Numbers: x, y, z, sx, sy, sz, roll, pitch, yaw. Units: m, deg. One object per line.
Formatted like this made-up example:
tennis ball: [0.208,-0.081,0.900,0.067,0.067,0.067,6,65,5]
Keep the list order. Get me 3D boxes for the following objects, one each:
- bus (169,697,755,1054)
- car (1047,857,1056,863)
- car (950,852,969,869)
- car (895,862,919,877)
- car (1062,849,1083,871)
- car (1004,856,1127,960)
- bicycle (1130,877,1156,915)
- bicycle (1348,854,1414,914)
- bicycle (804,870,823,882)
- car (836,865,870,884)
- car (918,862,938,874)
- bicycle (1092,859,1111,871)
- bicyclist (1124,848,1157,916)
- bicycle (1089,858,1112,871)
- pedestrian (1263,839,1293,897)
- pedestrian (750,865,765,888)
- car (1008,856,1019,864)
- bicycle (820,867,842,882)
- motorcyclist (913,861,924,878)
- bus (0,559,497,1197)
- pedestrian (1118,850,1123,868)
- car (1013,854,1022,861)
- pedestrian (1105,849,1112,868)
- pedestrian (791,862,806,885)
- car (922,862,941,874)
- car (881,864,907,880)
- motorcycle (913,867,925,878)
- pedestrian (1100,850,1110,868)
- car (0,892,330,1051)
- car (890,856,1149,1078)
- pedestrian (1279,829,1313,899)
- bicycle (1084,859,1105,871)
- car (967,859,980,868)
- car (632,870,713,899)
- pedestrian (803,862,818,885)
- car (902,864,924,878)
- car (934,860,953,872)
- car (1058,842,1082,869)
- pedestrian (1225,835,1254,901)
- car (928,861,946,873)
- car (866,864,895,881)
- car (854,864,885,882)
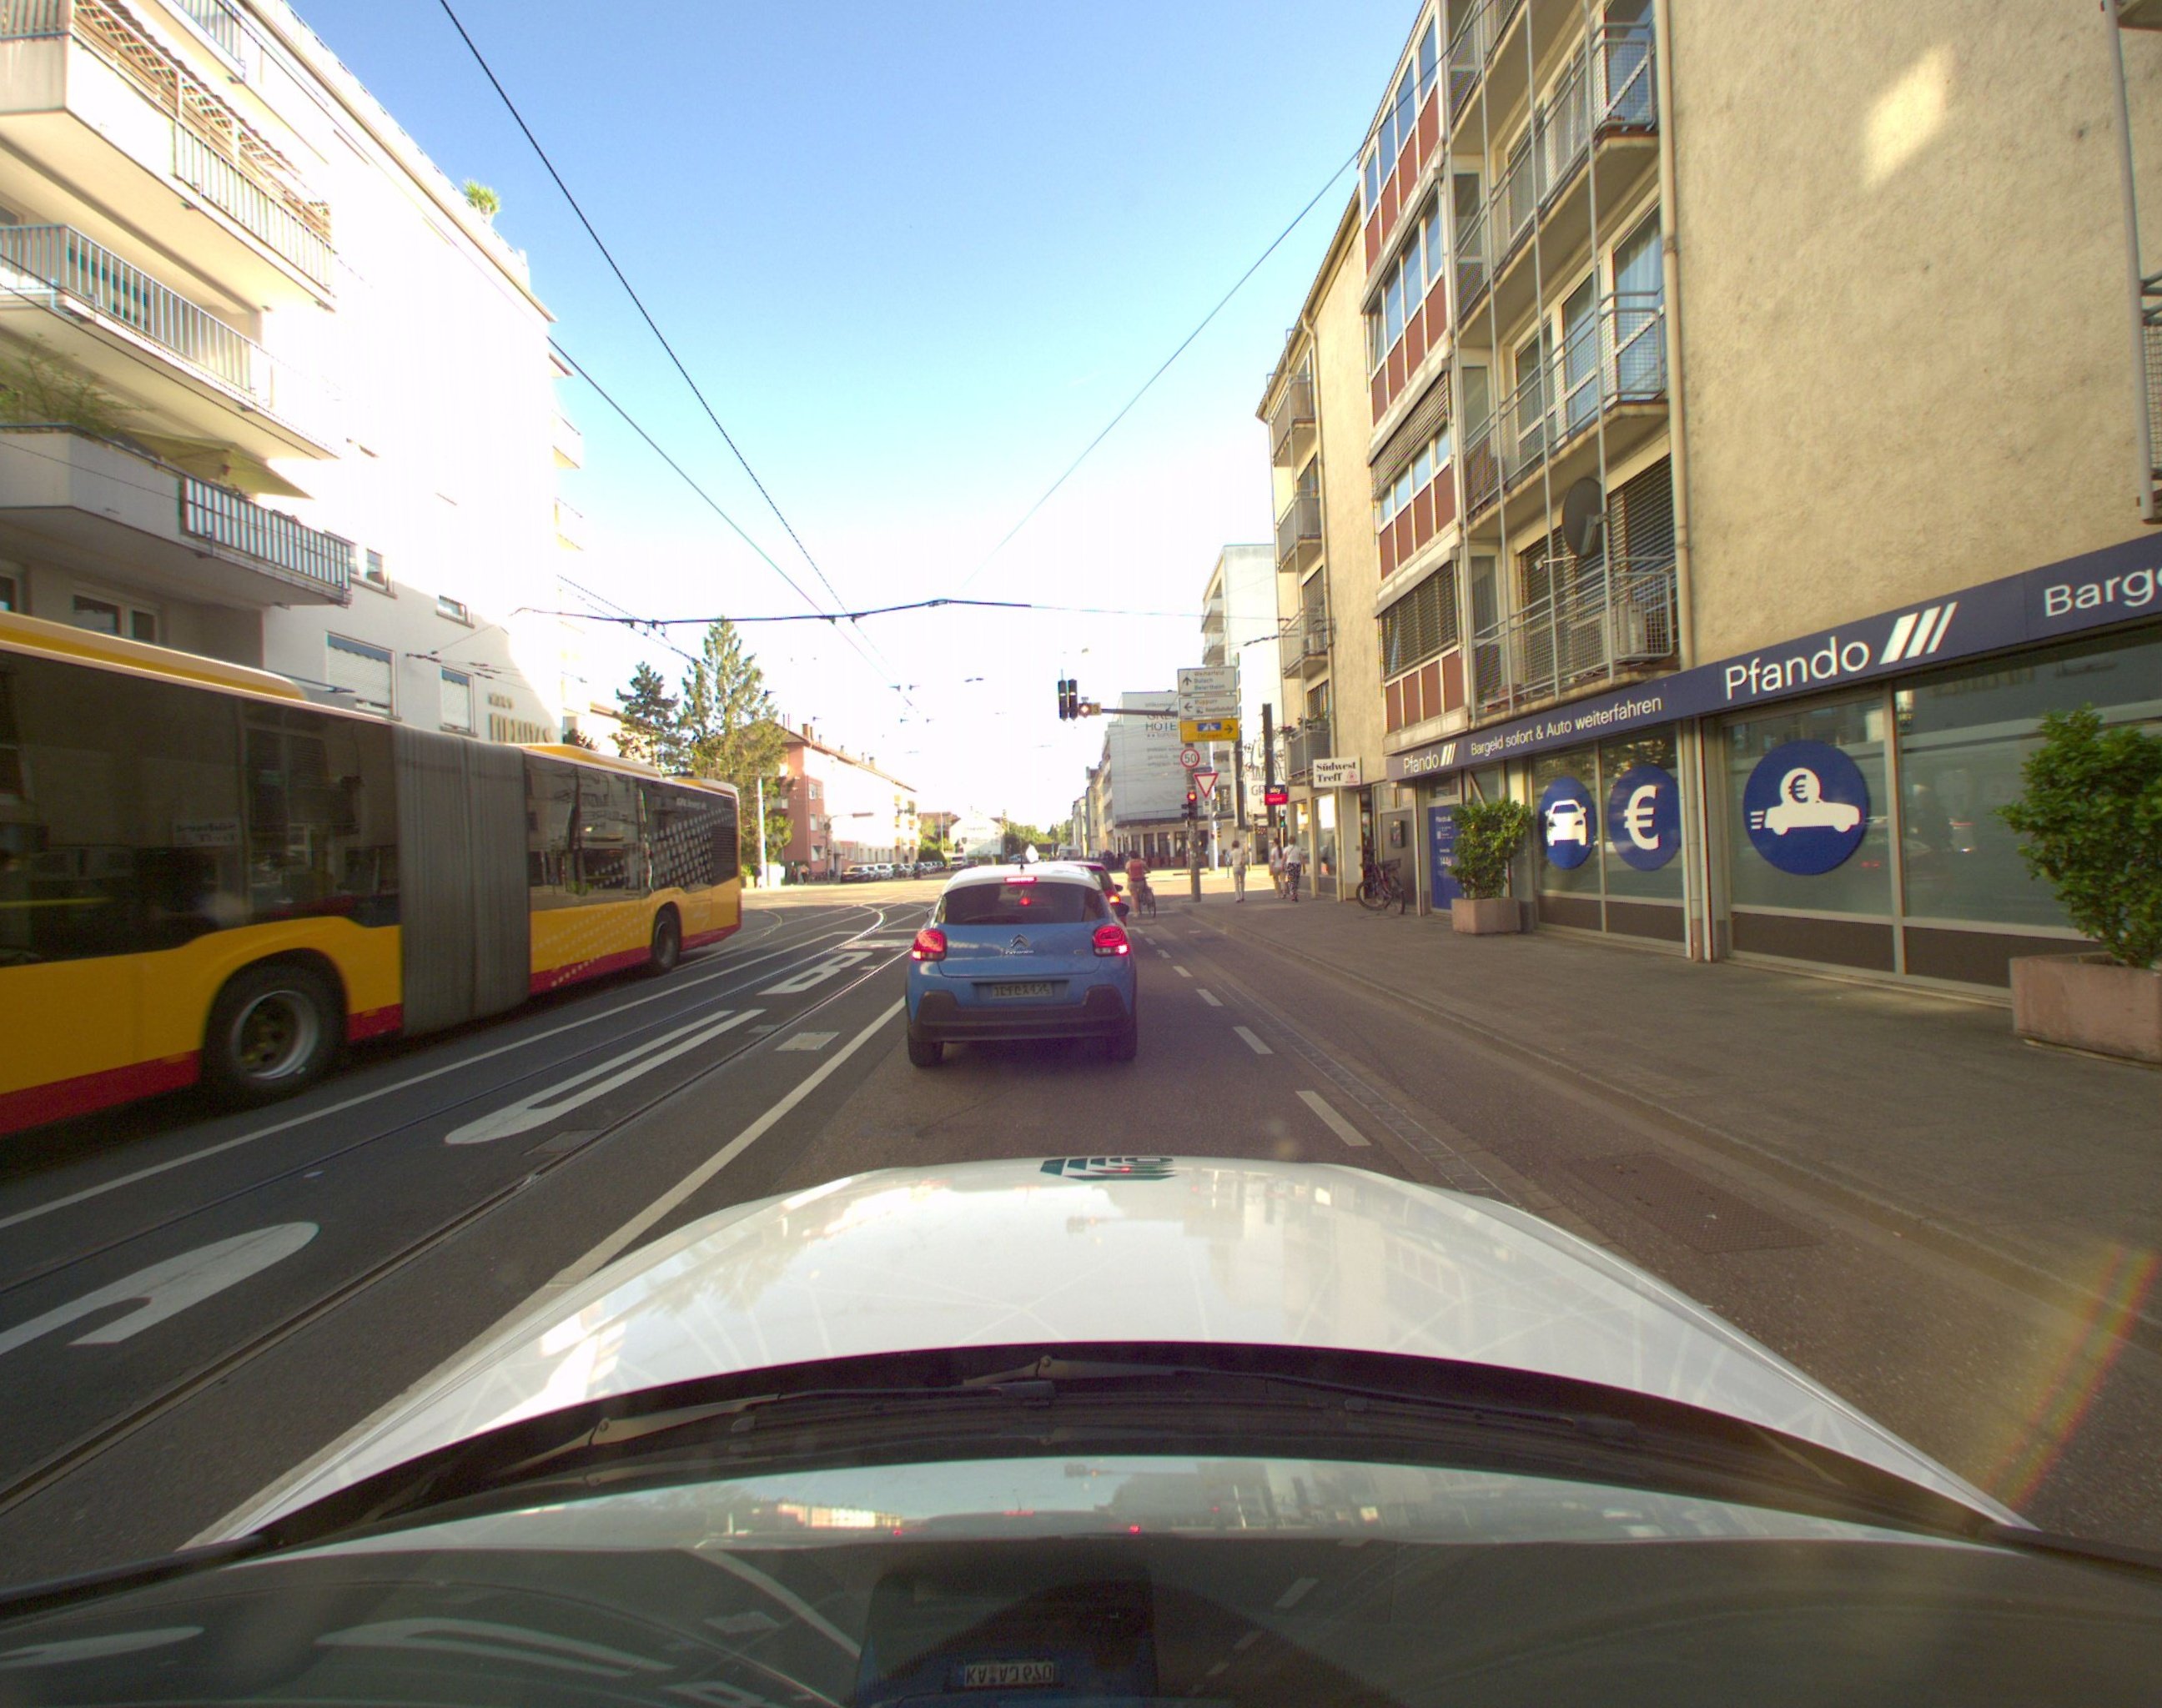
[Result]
bus: [-7.154,0.173,11.266,2.734,3.161,7.564,-2,0,-5]
car: [-6.826,1.311,187.056,1.752,1.259,3.825,-2,0,-5]
car: [-17.875,0.933,119.977,2.201,2.251,4.673,-2,0,-2]
car: [-19.809,1.738,92.756,1.906,1.497,3.997,-3,0,-2]
car: [-0.721,0.462,67.718,1.727,1.750,3.212,-1,0,-1]
car: [-0.161,0.793,13.777,1.732,1.420,4.002,-2,0,2]
bicycle: [1.567,1.055,20.800,0.497,0.864,1.748,-2,0,0]
bicycle: [5.758,0.547,15.729,0.528,1.072,1.810,-2,0,-1]
bicycle: [-22.465,1.849,68.394,0.730,0.952,2.597,-2,0,0]
car: [-19.427,1.756,69.459,1.907,1.433,3.995,-3,0,-4]
car: [-20.026,1.839,106.747,1.906,1.497,3.997,-3,0,-2]
bicycle: [1.664,0.886,66.122,1.497,0.957,0.702,-3,0,3]
bicyclist: [1.476,0.683,20.389,0.723,1.646,0.790,-2,0,1]
bicycle: [1.608,0.893,67.184,1.866,0.957,0.702,-3,0,3]
pedestrian: [5.291,0.369,21.886,0.539,1.507,0.611,-4,1,0]
pedestrian: [-23.434,1.614,58.987,0.854,1.625,0.510,-2,0,-33]
car: [-14.059,1.316,169.988,2.016,1.525,3.997,-2,0,-2]
bicycle: [-22.811,1.861,74.379,0.845,1.225,3.304,-2,0,0]
motorcyclist: [-13.490,1.257,67.615,0.716,1.378,0.912,-2,0,2]
bus: [-6.635,0.158,2.426,2.716,3.158,10.185,-2,0,-3]
pedestrian: [3.416,0.449,70.243,0.284,1.556,0.304,-2,0,-7]
car: [-14.665,0.838,188.059,2.016,1.525,3.997,-3,0,-2]
pedestrian: [2.384,0.379,69.918,0.490,1.556,0.383,-2,0,-2]
pedestrian: [-21.705,1.508,62.599,0.840,1.690,0.738,-2,0,4]
car: [-20.528,1.884,111.761,1.906,1.497,3.997,-3,0,-2]
car: [-19.809,1.872,86.612,1.906,1.497,3.997,-3,0,-2]
motorcycle: [-13.484,1.545,67.769,0.613,0.864,1.671,-2,0,2]
pedestrian: [2.126,0.420,72.493,0.648,1.556,0.490,-2,0,-20]
car: [-12.007,1.303,9.950,1.694,1.509,4.310,-1,-1,-1]
car: [-0.546,0.769,7.559,1.740,1.462,3.994,-1,0,-4]
pedestrian: [5.355,0.246,20.297,0.539,1.672,0.650,-4,0,0]
bicycle: [1.129,0.916,68.555,1.713,0.957,0.702,-3,0,3]
car: [-19.135,1.724,145.173,2.016,1.525,3.997,-2,0,-2]
car: [-26.176,1.915,52.347,4.404,1.574,1.842,-3,0,-22]
pedestrian: [-20.822,1.487,62.684,0.840,1.690,0.738,-2,0,4]
car: [-20.213,2.047,98.340,1.906,1.497,3.997,-3,0,-2]
car: [-20.567,1.802,122.288,2.024,1.619,4.509,-3,0,-1]
car: [-1.002,0.153,72.645,1.988,2.325,3.998,-1,0,-1]
pedestrian: [4.176,0.366,21.528,0.539,1.672,0.624,-4,1,0]
car: [-20.611,1.865,116.859,1.865,1.574,3.997,-2,0,-2]
car: [-19.585,1.767,79.820,1.906,1.497,3.997,-3,0,-2]
car: [-19.522,1.713,75.192,1.906,1.497,3.997,-3,0,-2]
